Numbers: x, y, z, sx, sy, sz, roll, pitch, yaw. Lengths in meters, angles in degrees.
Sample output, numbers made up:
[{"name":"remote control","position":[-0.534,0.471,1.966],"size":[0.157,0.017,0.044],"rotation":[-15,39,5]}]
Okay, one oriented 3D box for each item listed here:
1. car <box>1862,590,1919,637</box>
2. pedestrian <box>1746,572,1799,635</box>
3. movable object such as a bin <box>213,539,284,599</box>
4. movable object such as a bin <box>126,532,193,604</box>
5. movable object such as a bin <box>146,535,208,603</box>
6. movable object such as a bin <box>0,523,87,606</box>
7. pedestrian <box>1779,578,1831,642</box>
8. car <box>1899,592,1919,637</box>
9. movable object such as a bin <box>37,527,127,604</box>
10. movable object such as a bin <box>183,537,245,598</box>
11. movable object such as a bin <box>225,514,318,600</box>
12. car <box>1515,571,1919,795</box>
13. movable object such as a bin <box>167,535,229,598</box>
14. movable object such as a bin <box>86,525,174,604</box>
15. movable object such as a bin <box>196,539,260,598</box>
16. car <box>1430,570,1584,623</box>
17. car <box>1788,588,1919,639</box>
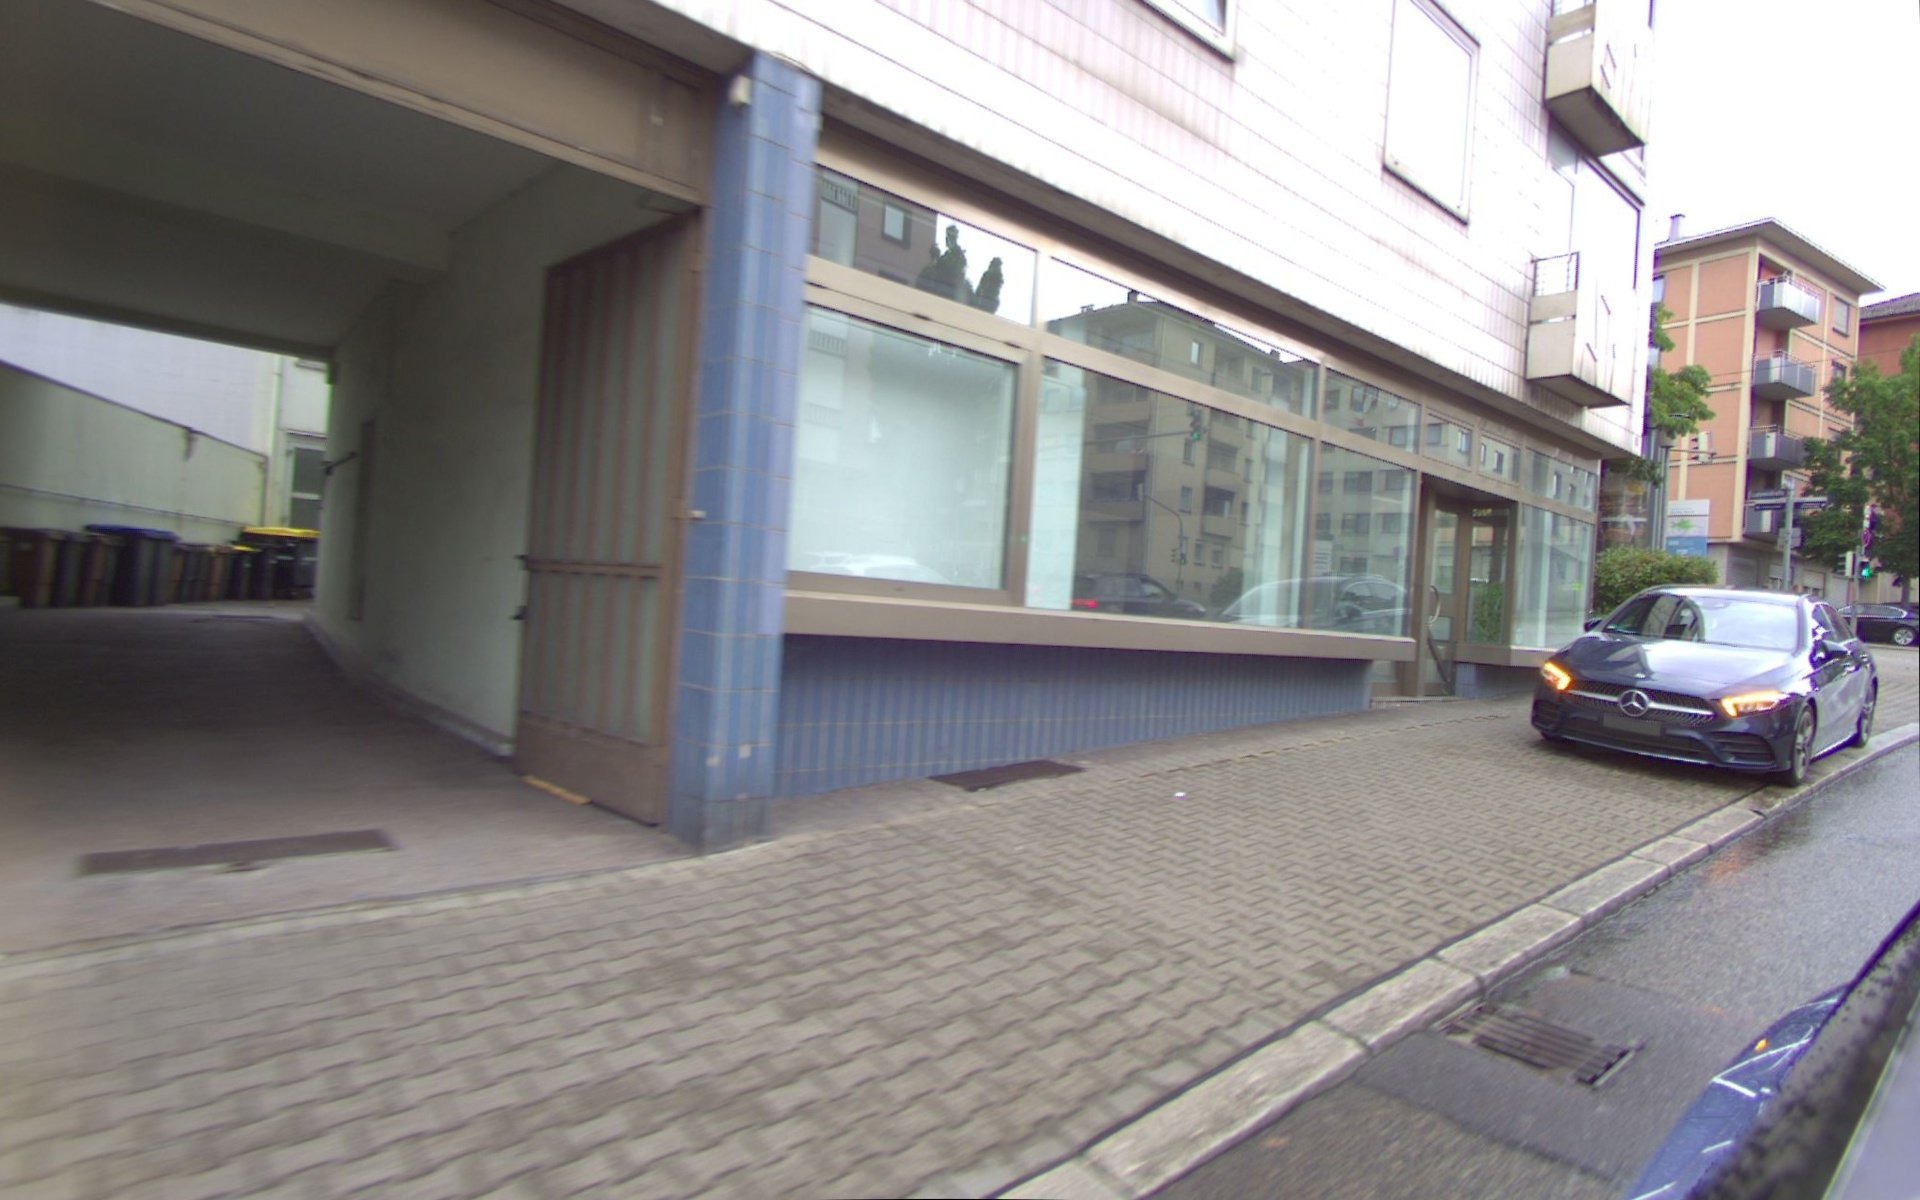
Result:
[{"name":"car","position":[36.495,0.581,37.620],"size":[1.954,1.681,4.003],"rotation":[3,0,-33]},{"name":"pedestrian","position":[22.884,0.088,28.510],"size":[0.746,1.667,0.709],"rotation":[6,1,7]},{"name":"movable object such as a bin","position":[-12.832,-0.546,18.275],"size":[0.816,1.008,0.700],"rotation":[5,-2,-21]},{"name":"movable object such as a bin","position":[-11.938,-0.468,15.112],"size":[0.549,1.000,0.632],"rotation":[5,-2,-21]},{"name":"movable object such as a bin","position":[-12.157,-0.466,15.728],"size":[0.518,1.000,0.632],"rotation":[5,-2,-21]},{"name":"movable object such as a bin","position":[-10.853,-0.400,11.914],"size":[0.549,0.905,0.846],"rotation":[5,-2,-21]},{"name":"pedestrian","position":[23.217,0.269,27.823],"size":[0.751,1.667,0.704],"rotation":[7,1,23]},{"name":"car","position":[39.076,0.638,38.798],"size":[1.951,1.741,4.009],"rotation":[2,0,-20]},{"name":"movable object such as a bin","position":[-11.092,-0.423,12.812],"size":[0.549,0.905,0.833],"rotation":[5,-2,-21]},{"name":"movable object such as a bin","position":[-12.493,-0.532,16.965],"size":[0.627,0.953,0.632],"rotation":[5,-2,-21]},{"name":"movable object such as a bin","position":[-12.974,-0.788,19.122],"size":[1.156,1.474,0.960],"rotation":[5,-2,-21]},{"name":"car","position":[6.765,0.520,8.857],"size":[4.300,1.408,1.769],"rotation":[-1,5,-39]},{"name":"movable object such as a bin","position":[-12.305,-0.535,16.363],"size":[0.591,0.953,0.572],"rotation":[5,-2,-21]},{"name":"movable object such as a bin","position":[-11.382,-0.461,13.905],"size":[0.549,1.000,1.075],"rotation":[5,-2,-21]},{"name":"movable object such as a bin","position":[-12.709,-0.530,17.586],"size":[0.700,0.953,0.632],"rotation":[5,-2,-21]},{"name":"car","position":[17.673,-0.145,32.884],"size":[1.813,1.531,4.005],"rotation":[2,1,-30]},{"name":"car","position":[33.512,0.531,36.854],"size":[1.812,1.573,4.804],"rotation":[3,2,-29]}]
